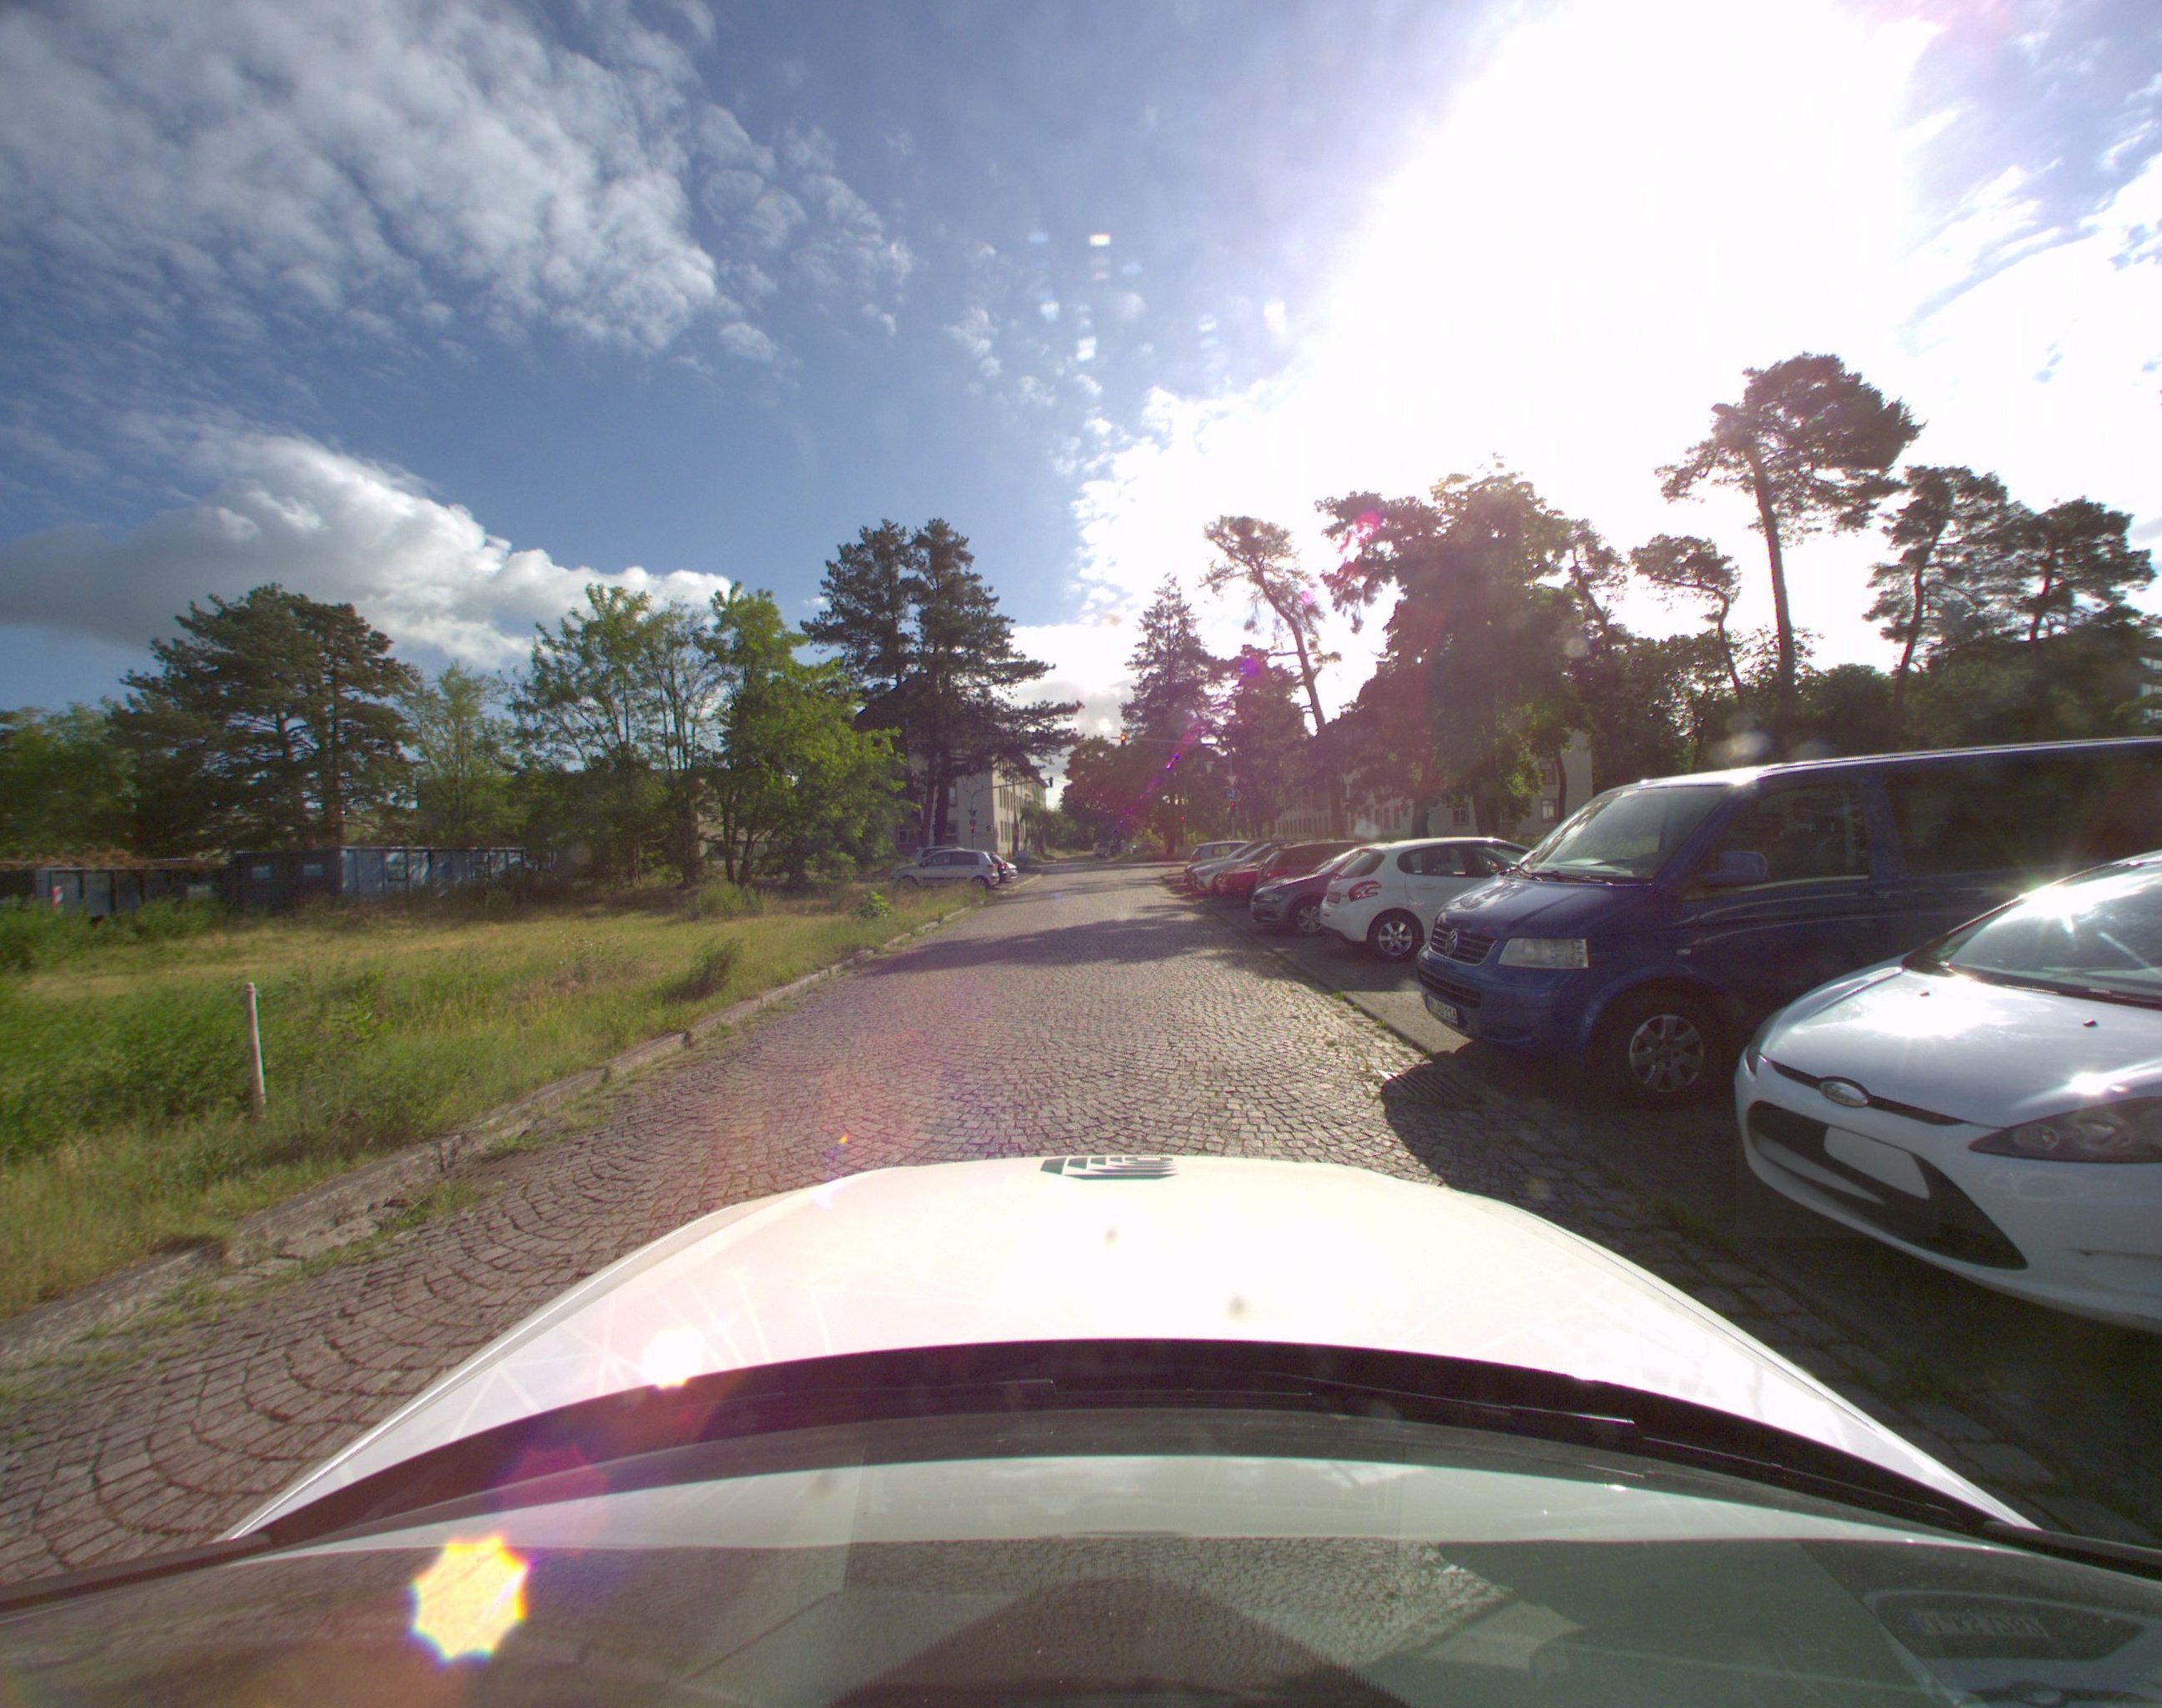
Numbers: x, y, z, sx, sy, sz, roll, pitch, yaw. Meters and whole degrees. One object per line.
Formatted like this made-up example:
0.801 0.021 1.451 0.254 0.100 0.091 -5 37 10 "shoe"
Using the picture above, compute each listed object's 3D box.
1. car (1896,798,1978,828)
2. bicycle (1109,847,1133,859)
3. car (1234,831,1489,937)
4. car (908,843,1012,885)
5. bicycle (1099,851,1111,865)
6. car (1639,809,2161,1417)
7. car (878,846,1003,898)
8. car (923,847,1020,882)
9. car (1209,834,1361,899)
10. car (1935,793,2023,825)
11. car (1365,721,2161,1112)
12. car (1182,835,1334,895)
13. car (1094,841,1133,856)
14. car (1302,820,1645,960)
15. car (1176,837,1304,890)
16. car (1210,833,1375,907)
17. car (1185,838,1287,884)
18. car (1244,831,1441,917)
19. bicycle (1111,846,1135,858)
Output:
63.885 -3.079 60.848 3.972 2.013 2.001 -2 1 1 "car"
3.815 -0.123 78.270 2.172 1.099 0.805 -2 0 -9 "bicycle"
4.578 0.462 13.665 3.663 1.467 1.645 -3 1 0 "car"
-4.987 0.396 34.029 3.973 1.601 2.000 1 1 1 "car"
2.232 0.338 74.839 0.803 1.169 2.177 -4 1 -4 "bicycle"
4.422 0.577 2.919 3.708 1.488 1.645 -3 1 -1 "car"
-4.856 0.595 28.635 3.976 1.600 1.999 -2 1 -2 "car"
-4.845 0.465 36.429 3.973 1.453 2.000 1 1 1 "car"
5.333 0.311 21.623 3.591 1.529 1.645 -2 1 0 "car"
63.615 -3.197 57.766 3.972 2.013 2.001 -2 1 1 "car"
4.657 0.302 5.573 4.664 2.013 2.082 -2 1 -2 "car"
5.109 0.294 23.811 4.024 1.529 1.644 -2 1 -3 "car"
3.804 -0.646 95.748 4.465 1.728 2.000 -2 1 1 "car"
5.009 0.430 10.768 3.680 1.465 1.646 -4 0 2 "car"
5.137 0.285 26.583 3.823 1.529 1.645 -2 1 0 "car"
4.923 0.353 19.272 3.467 1.529 1.645 -2 1 0 "car"
5.514 0.218 29.218 3.333 1.482 1.645 -2 1 0 "car"
5.226 0.374 16.573 3.467 1.529 1.645 -2 1 0 "car"
4.117 -0.187 79.402 2.172 1.099 0.805 -2 0 -9 "bicycle"
